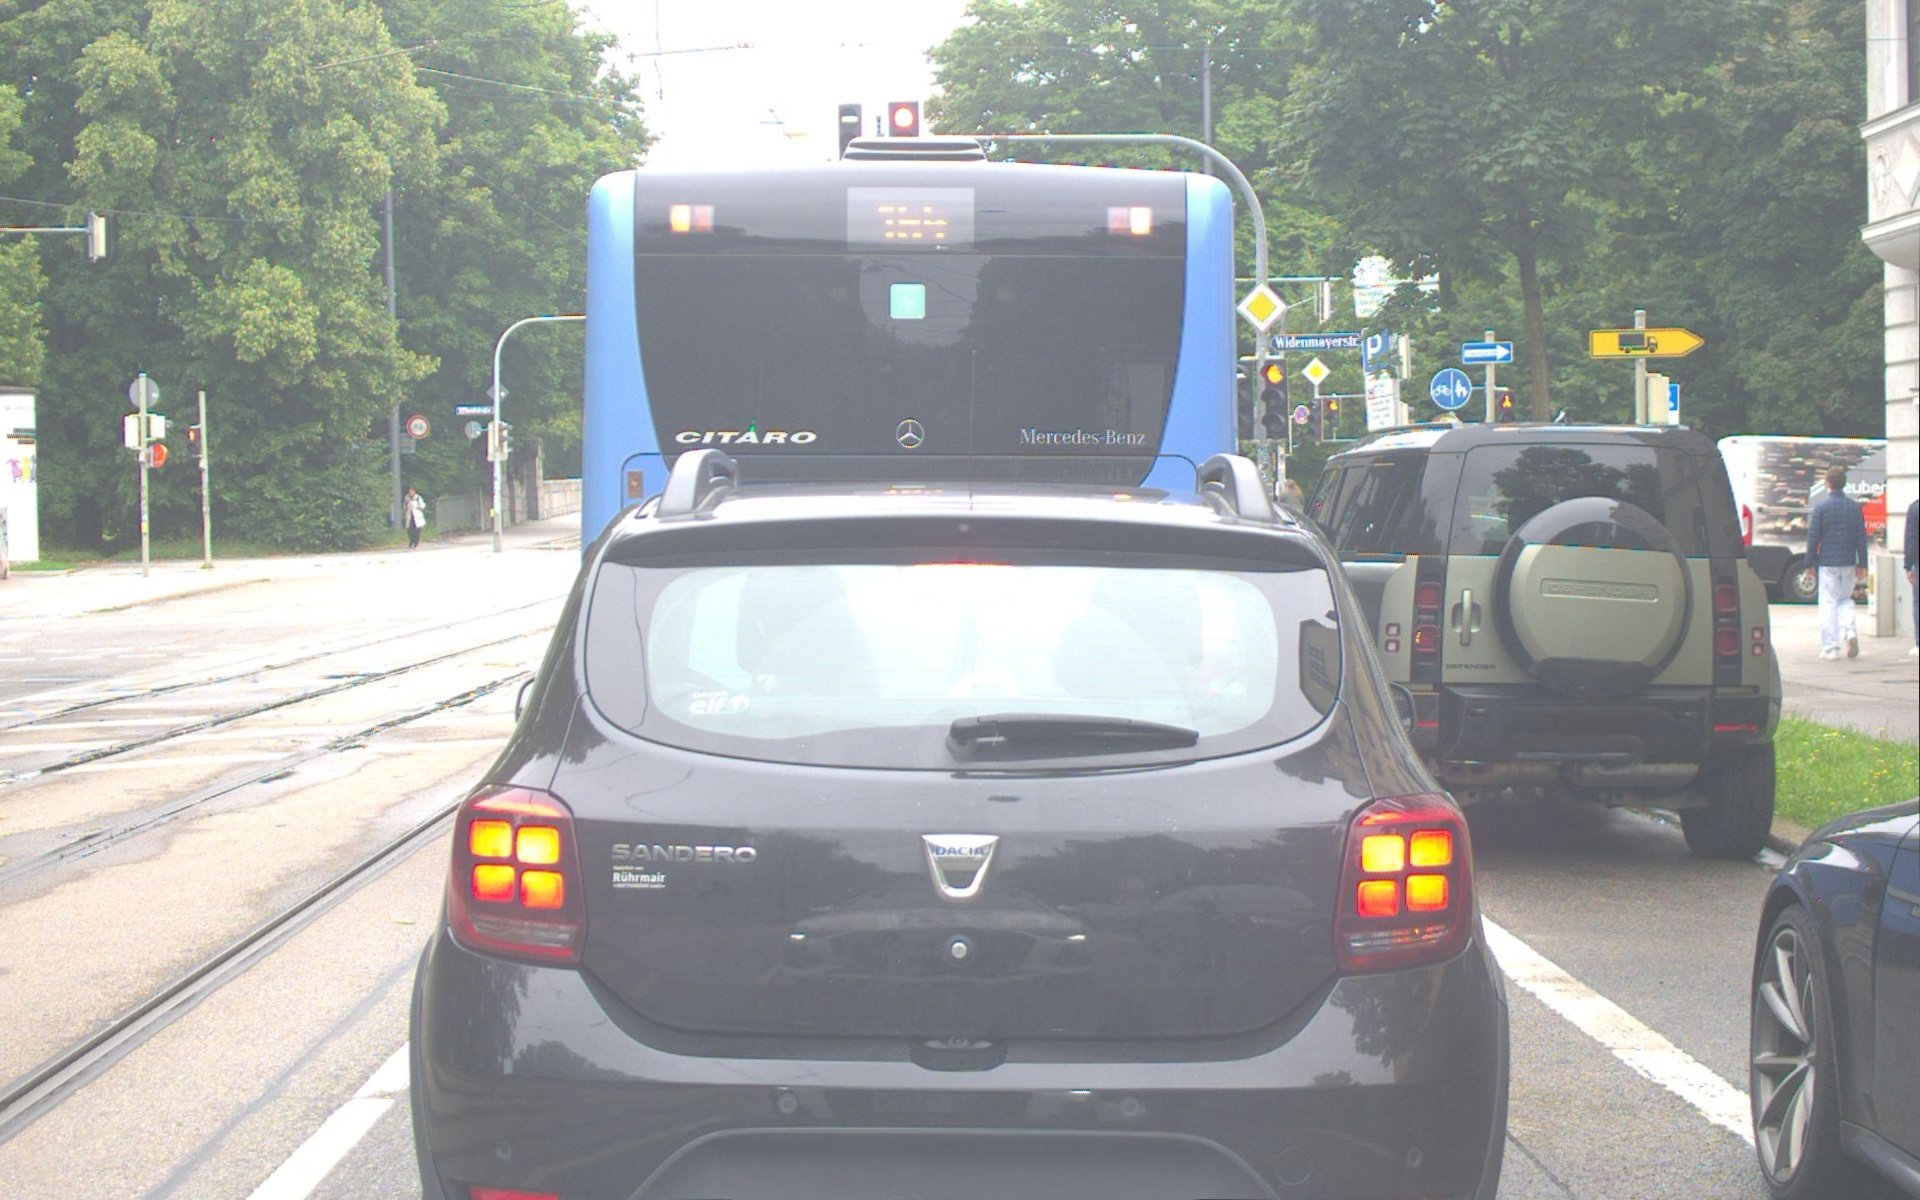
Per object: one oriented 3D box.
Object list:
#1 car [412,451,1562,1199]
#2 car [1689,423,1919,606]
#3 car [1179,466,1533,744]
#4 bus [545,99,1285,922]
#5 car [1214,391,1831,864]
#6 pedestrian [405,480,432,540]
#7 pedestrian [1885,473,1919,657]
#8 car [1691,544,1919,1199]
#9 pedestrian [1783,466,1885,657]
[{"bbox_3d":[-0.002,0.546,6.615,1.600,1.551,3.525,1,1,-1],"label":"car"},{"bbox_3d":[13.828,-1.242,51.341,5.295,2.603,2.231,1,1,-3],"label":"car"},{"bbox_3d":[2.443,-0.014,22.184,1.714,1.586,4.327,1,1,-1],"label":"car"},{"bbox_3d":[-0.311,-0.393,16.199,2.678,2.987,6.962,1,1,-2],"label":"bus"},{"bbox_3d":[2.480,0.066,16.458,1.914,1.899,4.809,1,1,-3],"label":"car"},{"bbox_3d":[-13.615,-2.255,86.408,0.532,1.496,0.588,1,1,4],"label":"pedestrian"},{"bbox_3d":[9.281,-0.331,32.656,0.705,1.726,0.843,1,1,-1],"label":"pedestrian"},{"bbox_3d":[2.652,0.643,5.859,1.716,1.421,4.603,1,1,-1],"label":"car"},{"bbox_3d":[8.430,-0.376,33.190,0.705,1.810,0.870,1,1,-1],"label":"pedestrian"}]
